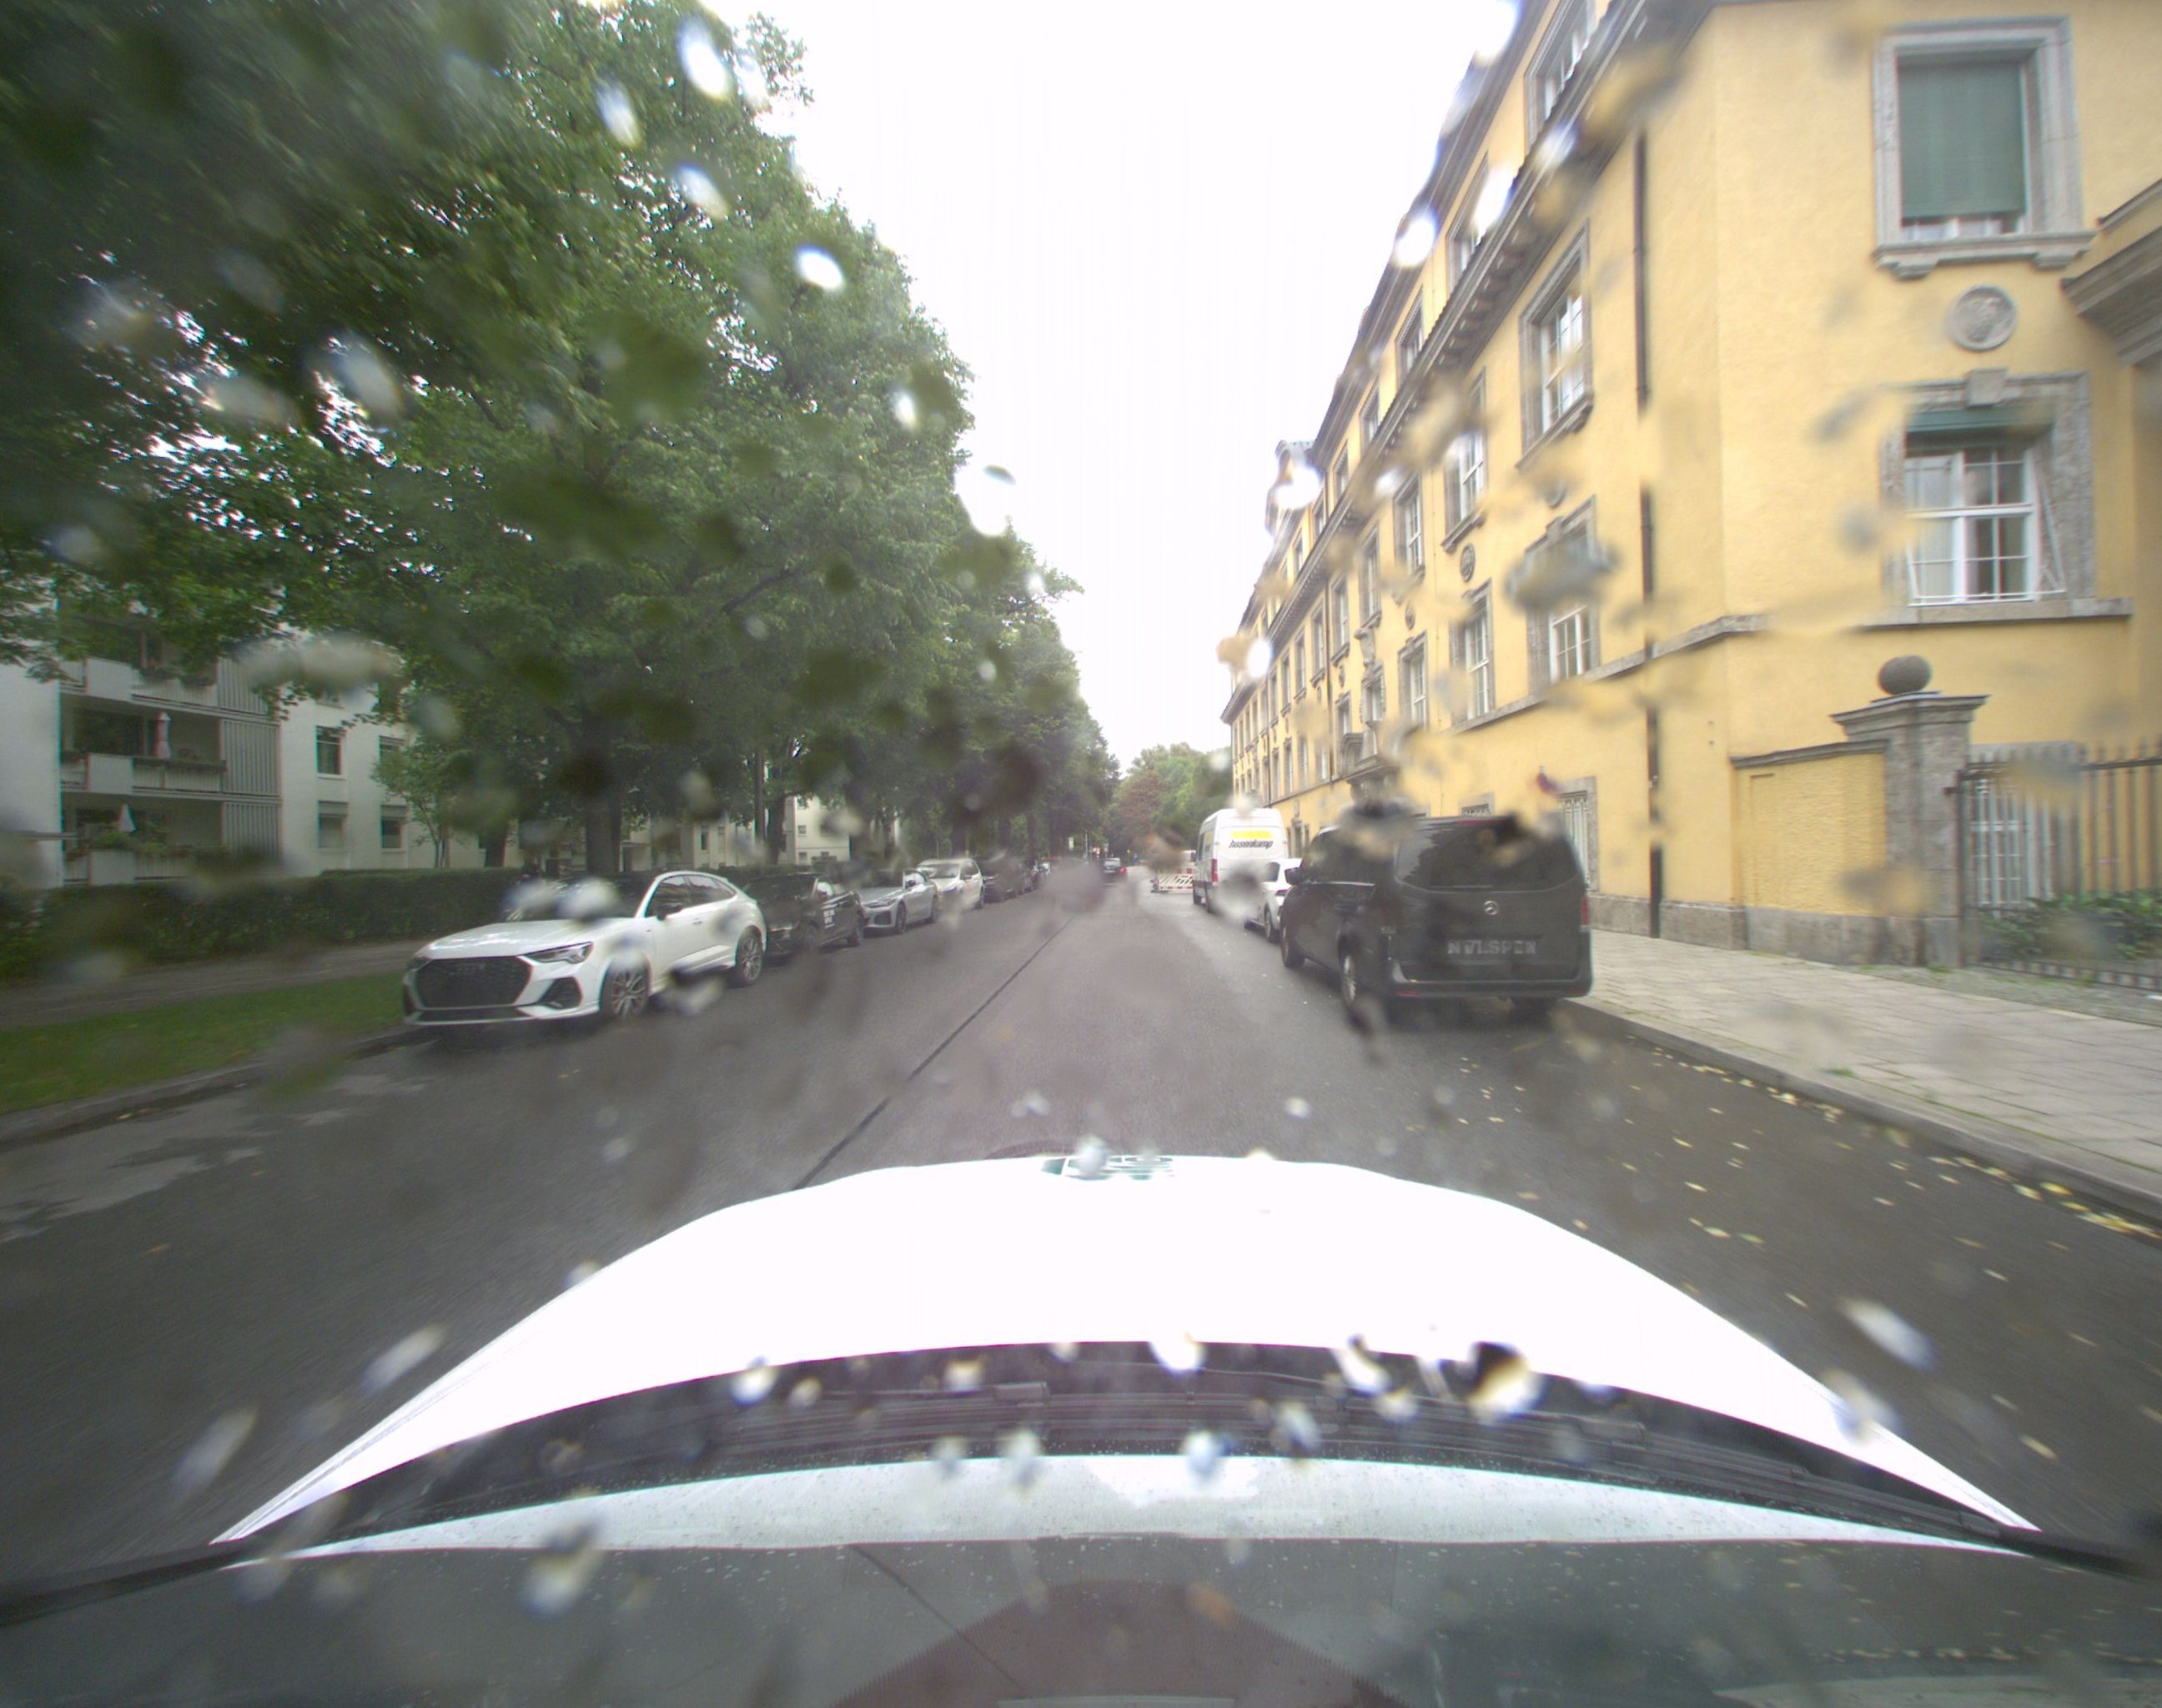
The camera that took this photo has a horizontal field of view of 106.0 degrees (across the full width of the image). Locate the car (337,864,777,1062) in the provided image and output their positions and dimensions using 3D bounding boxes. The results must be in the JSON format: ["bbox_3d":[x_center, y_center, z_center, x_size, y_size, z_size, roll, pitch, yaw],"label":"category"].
[{"bbox_3d":[-5.266,0.944,9.136,1.777,1.597,4.587,-2,-1,2],"label":"car"}]

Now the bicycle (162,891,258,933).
[{"bbox_3d":[-24.327,1.600,22.798,0.638,1.037,1.903,-1,0,0],"label":"bicycle"}]

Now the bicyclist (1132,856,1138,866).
[{"bbox_3d":[8.478,1.126,128.046,0.679,1.504,0.900,-2,0,-4],"label":"bicyclist"}]

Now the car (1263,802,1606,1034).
[{"bbox_3d":[3.482,0.551,9.251,1.863,1.869,4.989,-2,-1,2],"label":"car"}]

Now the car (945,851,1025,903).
[{"bbox_3d":[-3.623,0.839,31.783,1.984,1.797,4.928,-3,-1,5],"label":"car"}]

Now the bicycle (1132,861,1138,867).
[{"bbox_3d":[8.485,1.592,128.189,0.678,0.830,2.106,-2,-1,-4],"label":"bicycle"}]

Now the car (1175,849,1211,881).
[{"bbox_3d":[6.537,0.677,48.075,1.732,1.750,4.359,-2,-1,3],"label":"car"}]

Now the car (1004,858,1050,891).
[{"bbox_3d":[-2.776,1.038,42.825,1.778,1.574,4.490,-2,0,4],"label":"car"}]

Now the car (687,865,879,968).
[{"bbox_3d":[-4.980,0.972,14.266,1.665,1.469,4.106,-2,-1,2],"label":"car"}]

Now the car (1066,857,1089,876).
[{"bbox_3d":[-0.240,1.026,68.736,1.570,1.497,4.204,-2,0,4],"label":"car"}]

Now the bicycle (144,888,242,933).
[{"bbox_3d":[-24.998,1.575,22.973,0.638,1.107,1.903,-1,0,0],"label":"bicycle"}]

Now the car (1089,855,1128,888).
[{"bbox_3d":[1.480,0.898,42.366,1.568,1.584,4.053,-2,0,8],"label":"car"}]

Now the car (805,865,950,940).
[{"bbox_3d":[-4.612,1.032,19.312,1.801,1.469,5.002,-2,-1,4],"label":"car"}]

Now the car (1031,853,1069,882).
[{"bbox_3d":[-1.992,0.873,54.182,1.863,1.728,4.648,-2,0,6],"label":"car"}]

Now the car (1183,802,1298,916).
[{"bbox_3d":[4.302,0.154,23.366,2.046,2.673,7.619,-2,-1,3],"label":"car"}]

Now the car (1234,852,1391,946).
[{"bbox_3d":[4.143,0.744,15.275,1.863,1.458,4.258,-2,-1,2],"label":"car"}]

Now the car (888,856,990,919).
[{"bbox_3d":[-4.170,0.944,24.664,1.756,1.622,4.530,-4,-1,6],"label":"car"}]

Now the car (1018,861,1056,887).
[{"bbox_3d":[-2.569,1.154,48.704,1.720,1.422,4.255,-2,0,4],"label":"car"}]

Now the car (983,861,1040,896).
[{"bbox_3d":[-3.111,1.070,37.435,1.710,1.451,4.702,-2,0,5],"label":"car"}]

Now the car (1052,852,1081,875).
[{"bbox_3d":[-1.085,0.720,62.892,1.807,1.601,4.519,-2,0,4],"label":"car"}]
